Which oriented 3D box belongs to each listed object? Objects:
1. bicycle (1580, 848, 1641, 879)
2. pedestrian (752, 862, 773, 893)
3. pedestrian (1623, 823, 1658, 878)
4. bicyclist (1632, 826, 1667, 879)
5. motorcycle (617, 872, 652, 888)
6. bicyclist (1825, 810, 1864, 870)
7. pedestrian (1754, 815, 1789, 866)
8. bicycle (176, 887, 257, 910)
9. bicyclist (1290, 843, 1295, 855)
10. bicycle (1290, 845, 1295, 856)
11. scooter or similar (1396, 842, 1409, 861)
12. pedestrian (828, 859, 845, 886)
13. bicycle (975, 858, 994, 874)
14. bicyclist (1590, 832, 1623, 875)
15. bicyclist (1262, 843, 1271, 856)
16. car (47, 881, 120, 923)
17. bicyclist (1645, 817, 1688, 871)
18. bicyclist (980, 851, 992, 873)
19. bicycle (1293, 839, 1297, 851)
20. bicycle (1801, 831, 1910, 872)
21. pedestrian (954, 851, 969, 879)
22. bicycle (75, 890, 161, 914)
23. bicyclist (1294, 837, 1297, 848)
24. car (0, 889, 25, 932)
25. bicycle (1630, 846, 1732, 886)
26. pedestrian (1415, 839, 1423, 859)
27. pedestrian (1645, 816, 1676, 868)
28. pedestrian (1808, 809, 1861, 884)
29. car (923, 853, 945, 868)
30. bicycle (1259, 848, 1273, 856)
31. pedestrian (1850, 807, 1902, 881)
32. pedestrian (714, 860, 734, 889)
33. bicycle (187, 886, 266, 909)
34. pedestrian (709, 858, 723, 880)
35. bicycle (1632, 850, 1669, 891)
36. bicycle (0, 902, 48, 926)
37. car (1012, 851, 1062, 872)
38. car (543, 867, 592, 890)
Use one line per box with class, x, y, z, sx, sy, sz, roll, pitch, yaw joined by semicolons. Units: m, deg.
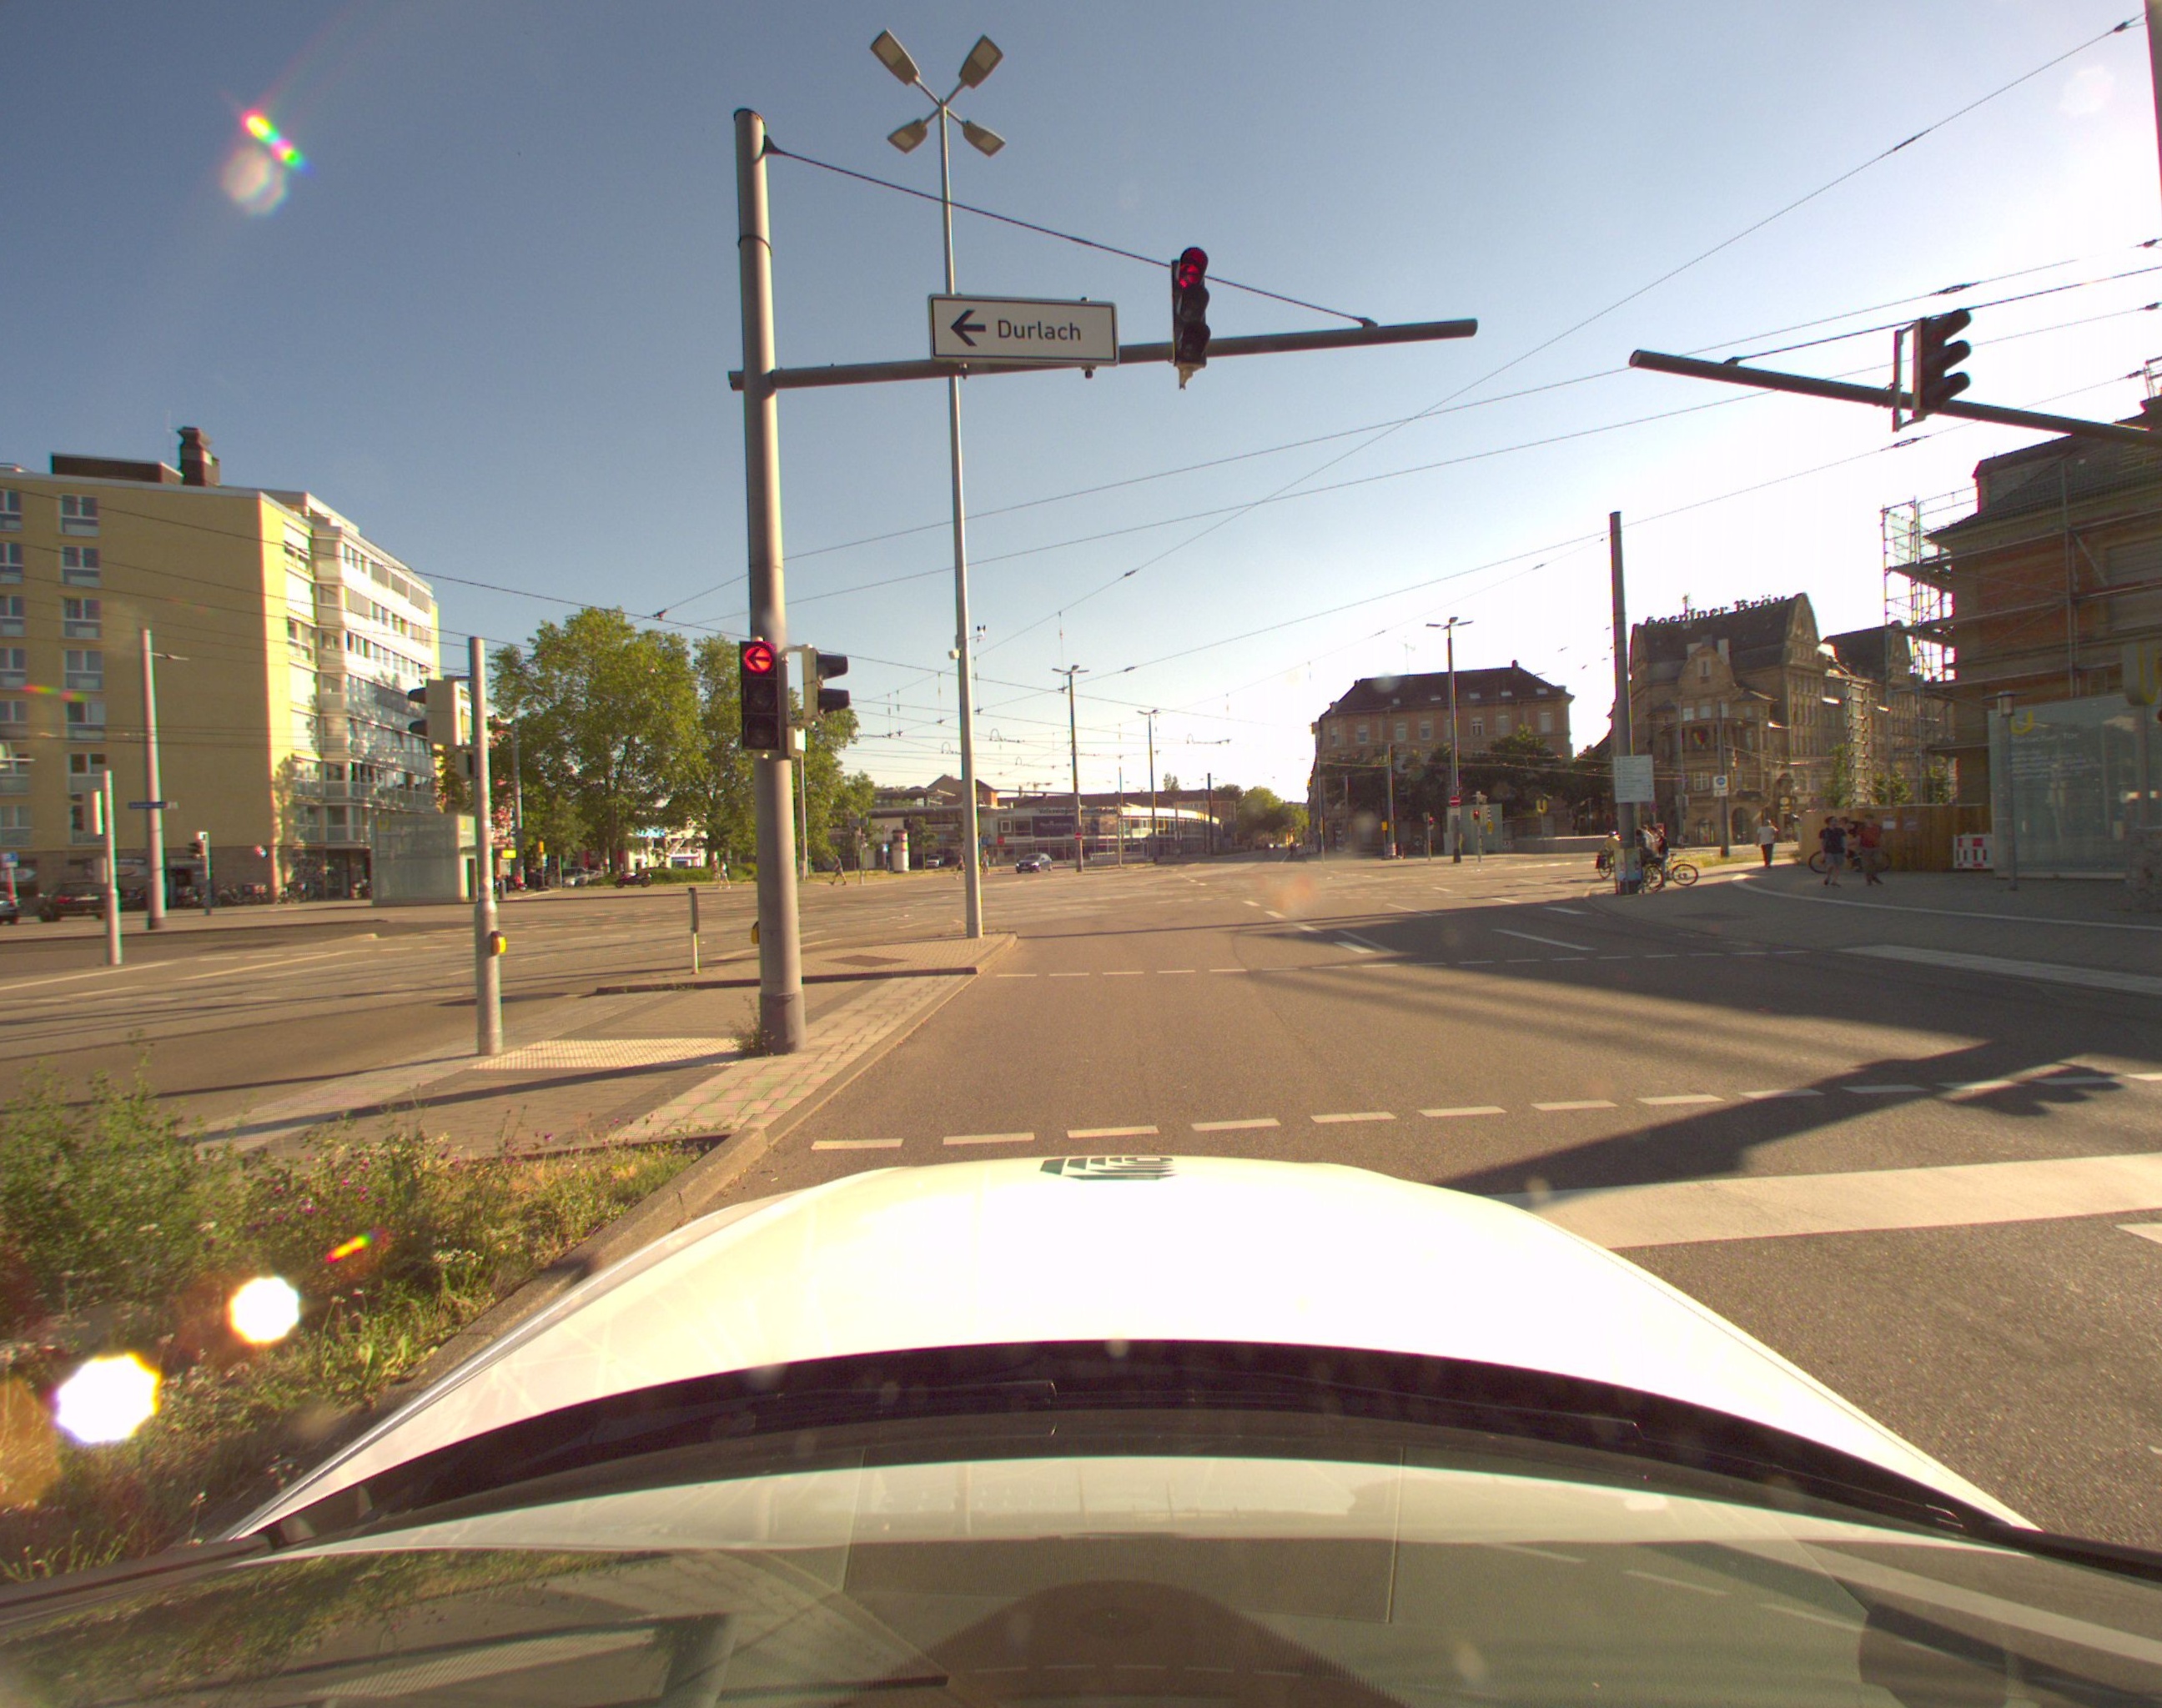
bicycle;19.145;0.337;29.504;0.533;1.049;2.315;0;1;-6
pedestrian;-17.765;1.284;45.461;0.790;1.706;0.760;-1;-1;9
pedestrian;21.020;-0.124;30.608;0.730;2.014;0.760;0;-1;-6
bicyclist;15.921;-0.037;22.827;0.701;1.439;0.953;-1;-1;31
motorcycle;-27.257;1.580;49.764;1.779;0.914;0.675;0;-1;-19
bicyclist;23.219;-0.417;24.770;0.785;1.779;0.526;-1;-1;37
pedestrian;25.210;-0.491;29.745;0.646;1.814;0.689;0;-1;-6
bicycle;-46.230;2.354;43.588;3.041;1.151;0.637;0;-1;-16
bicyclist;19.669;-0.429;75.718;0.405;1.116;0.400;-1;-1;13
bicycle;19.670;-0.331;75.717;0.407;0.941;1.852;-1;-1;15
scooter or similar;24.764;-0.179;62.791;0.780;1.376;1.916;-1;-1;16
pedestrian;-15.225;1.145;50.754;0.790;1.706;0.760;-1;-1;9
bicycle;-7.093;0.881;59.978;0.607;1.189;1.878;-1;-1;19
bicyclist;19.129;-0.023;29.634;0.514;1.557;0.945;0;-1;-6
bicyclist;22.700;-0.591;99.498;0.778;1.577;0.753;0;-1;-40
car;-44.266;2.078;36.110;3.948;1.706;1.730;-1;-1;35
bicyclist;17.090;-0.278;23.794;0.935;1.557;0.715;-1;-1;31
bicyclist;-7.036;0.576;60.144;0.593;1.615;0.826;-1;-1;19
bicycle;36.009;-1.473;136.788;0.613;2.014;2.410;-1;-1;16
bicycle;23.377;-0.067;24.648;2.290;1.049;0.539;-5;-1;36
pedestrian;-8.002;0.722;54.569;0.790;1.886;0.760;-1;-1;9
bicycle;-50.253;2.500;42.514;3.041;1.151;0.637;0;-1;-16
bicyclist;35.994;-1.994;136.623;0.595;1.809;0.830;-1;-1;15
car;-47.043;2.428;34.875;3.948;1.706;2.013;-1;-1;35
bicycle;17.353;0.361;23.635;2.290;1.049;0.705;-3;-2;32
pedestrian;35.227;-0.516;84.864;0.598;2.013;0.649;-2;0;16
pedestrian;21.760;-0.458;30.601;0.646;1.922;0.689;0;-1;-6
pedestrian;18.802;-0.188;20.340;0.672;1.807;0.680;-3;0;-19
car;-18.044;0.796;99.973;1.988;1.750;3.997;0;-1;-1
bicycle;22.631;-0.196;99.702;0.663;0.952;1.581;0;-1;-41
pedestrian;19.665;-0.240;20.144;0.672;1.807;0.680;0;-1;-19
pedestrian;-21.107;1.215;48.165;0.790;1.706;0.760;-1;-1;9
bicycle;-46.386;2.342;44.232;3.041;1.151;0.637;0;-1;-16
pedestrian;-28.447;1.143;63.503;0.854;1.694;0.497;0;-1;-1
bicycle;15.857;0.443;22.711;0.692;1.049;2.335;0;1;31
bicycle;-54.387;3.053;41.071;3.041;1.151;0.637;0;-1;-16
car;-3.313;0.564;62.024;1.975;1.585;4.024;-1;-1;29
car;-37.300;1.724;59.247;1.772;1.567;3.983;0;-1;-12
